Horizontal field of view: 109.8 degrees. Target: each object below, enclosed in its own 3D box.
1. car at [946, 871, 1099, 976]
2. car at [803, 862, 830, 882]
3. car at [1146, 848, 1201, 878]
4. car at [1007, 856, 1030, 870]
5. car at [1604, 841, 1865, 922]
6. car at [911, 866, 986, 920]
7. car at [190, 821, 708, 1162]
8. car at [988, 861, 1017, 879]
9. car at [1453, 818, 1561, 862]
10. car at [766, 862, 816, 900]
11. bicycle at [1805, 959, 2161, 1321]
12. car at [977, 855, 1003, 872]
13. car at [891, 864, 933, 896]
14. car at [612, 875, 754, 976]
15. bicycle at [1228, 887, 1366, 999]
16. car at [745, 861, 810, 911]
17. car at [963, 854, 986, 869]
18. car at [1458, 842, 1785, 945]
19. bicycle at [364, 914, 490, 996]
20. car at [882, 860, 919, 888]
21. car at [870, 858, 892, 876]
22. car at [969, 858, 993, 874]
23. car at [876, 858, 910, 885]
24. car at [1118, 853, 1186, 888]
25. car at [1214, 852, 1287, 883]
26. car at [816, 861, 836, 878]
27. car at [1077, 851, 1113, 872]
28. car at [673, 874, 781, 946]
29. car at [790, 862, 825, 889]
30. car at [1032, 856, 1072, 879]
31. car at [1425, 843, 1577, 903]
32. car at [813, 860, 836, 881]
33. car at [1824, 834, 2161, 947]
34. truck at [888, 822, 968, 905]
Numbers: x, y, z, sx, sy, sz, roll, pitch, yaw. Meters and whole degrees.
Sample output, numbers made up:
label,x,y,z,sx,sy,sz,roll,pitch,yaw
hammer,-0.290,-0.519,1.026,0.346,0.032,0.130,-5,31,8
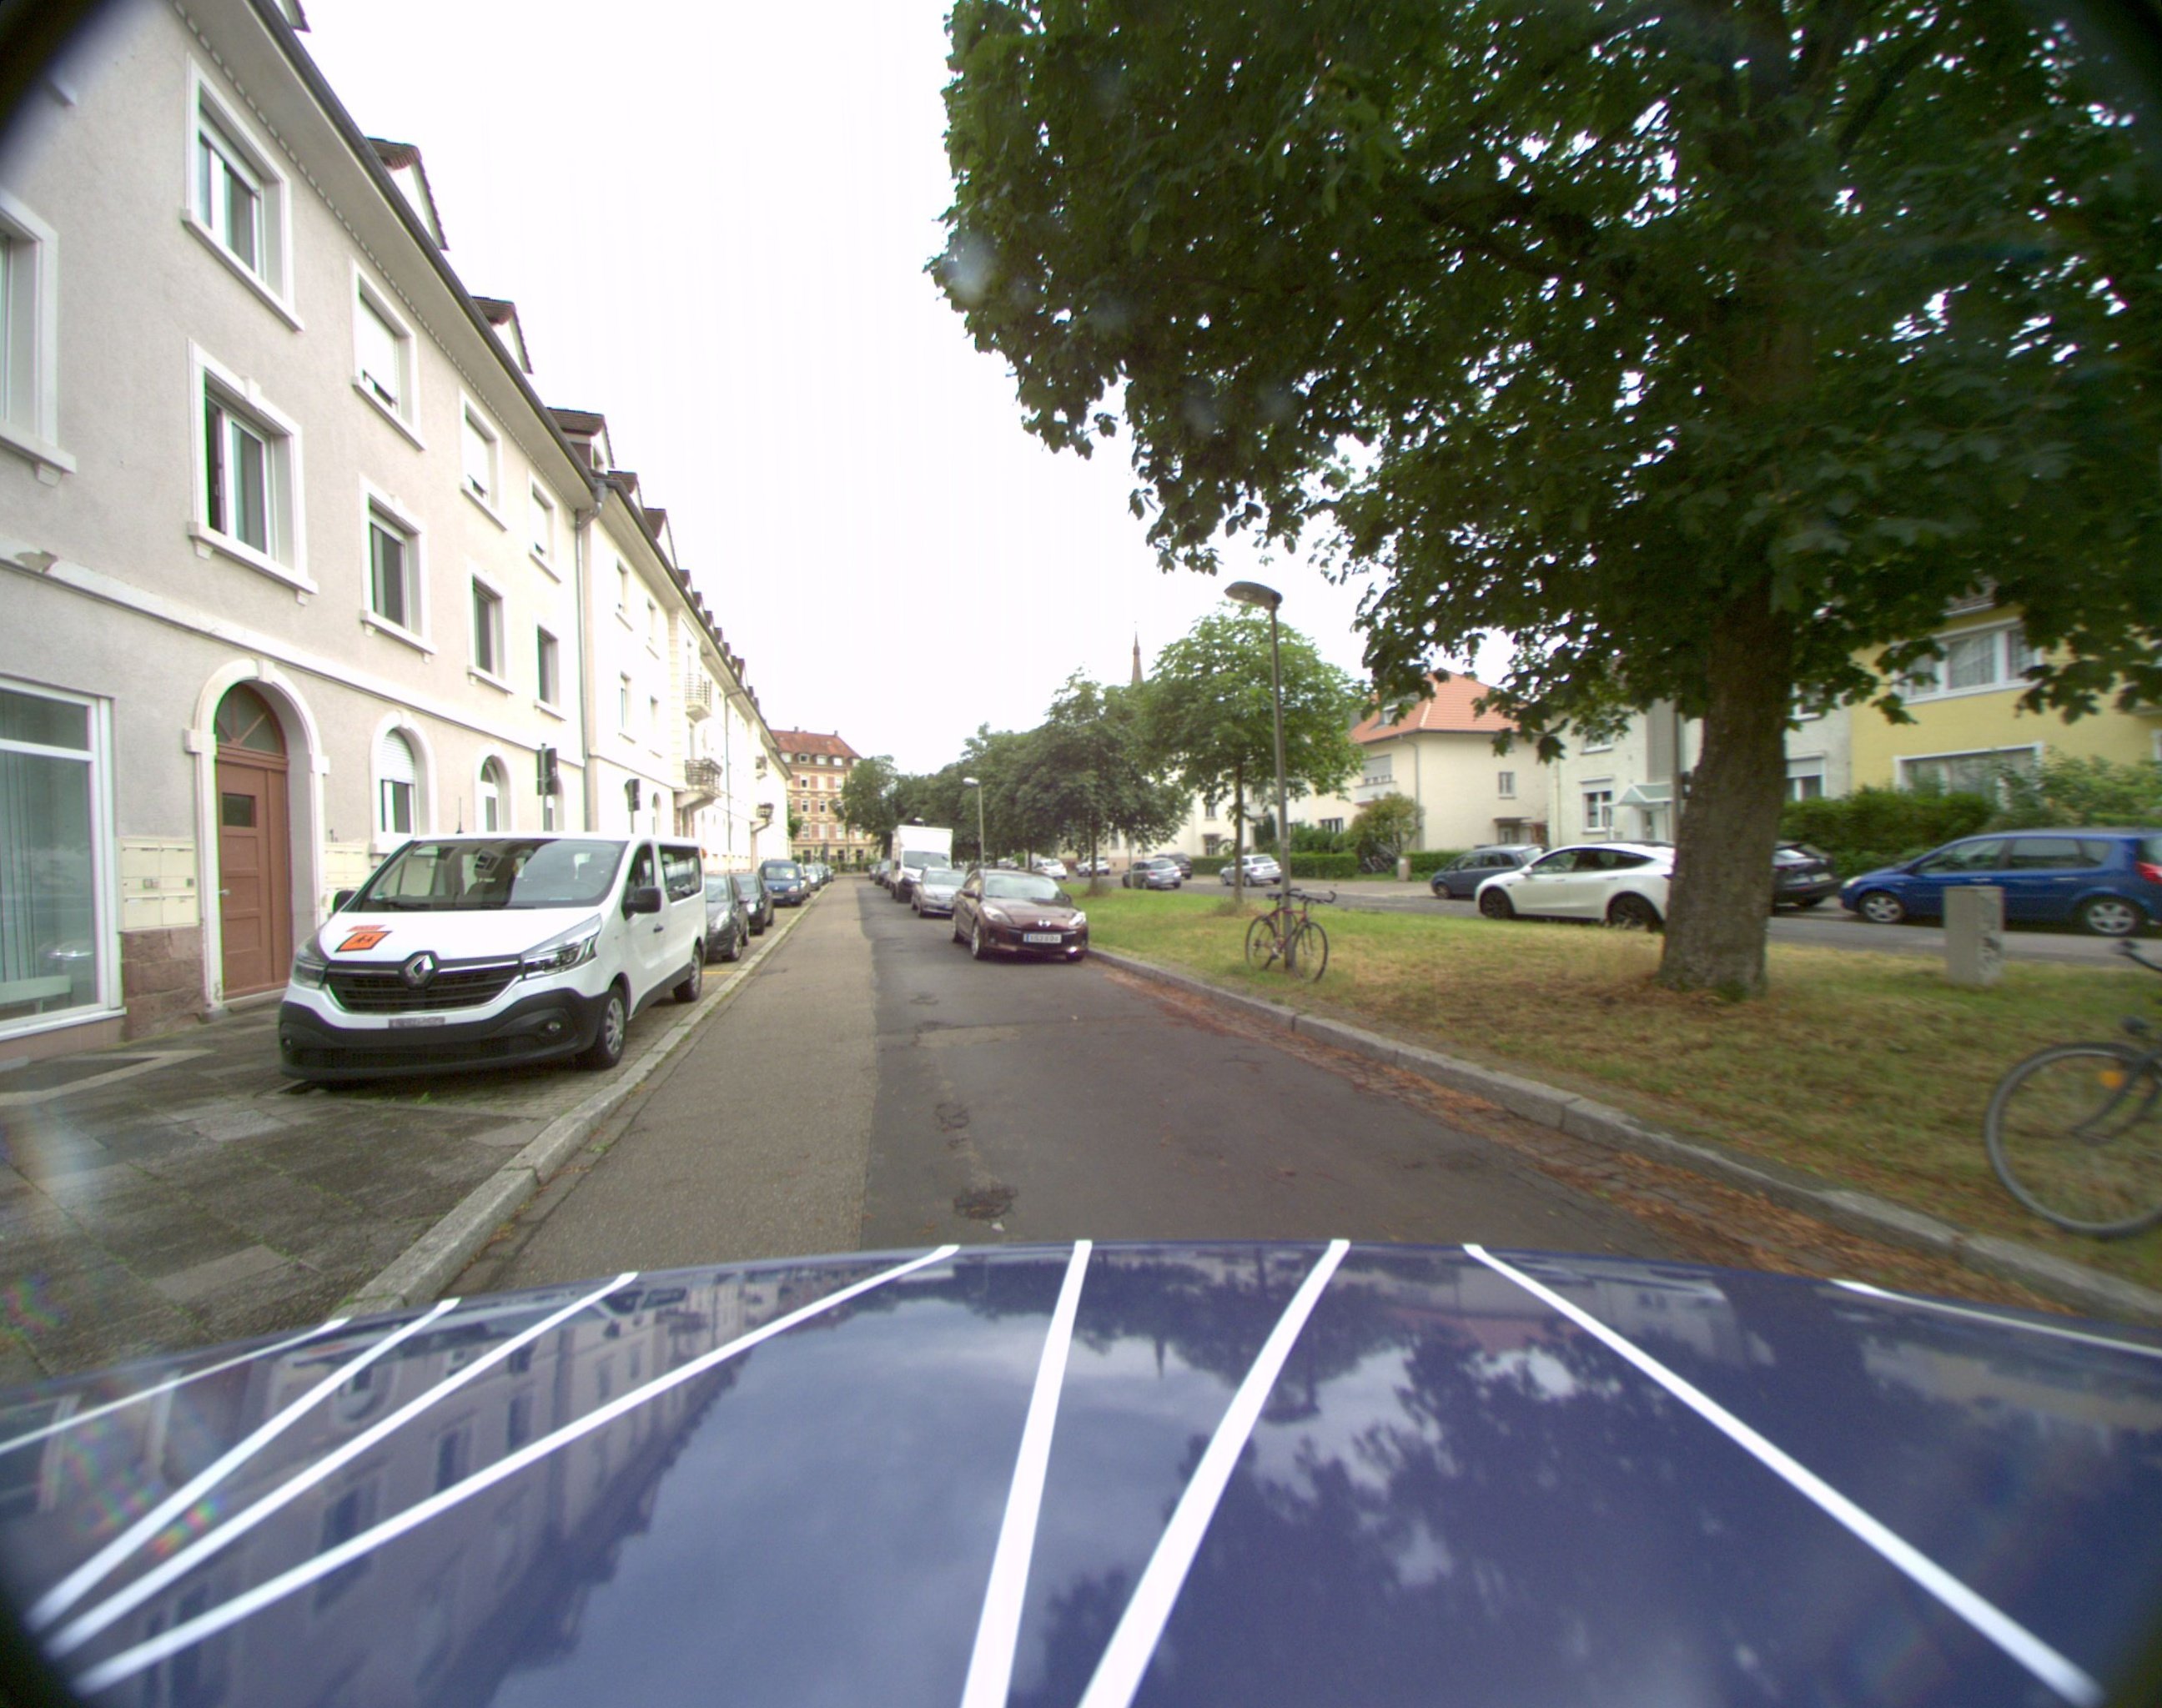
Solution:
label,x,y,z,sx,sy,sz,roll,pitch,yaw
car,-1.184,1.075,13.100,1.718,1.449,4.157,3,-1,-17
car,-19.158,1.275,55.145,1.612,1.391,4.004,2,-1,-17
car,5.677,0.556,47.274,1.806,1.664,4.095,-5,1,-17
car,-7.720,1.079,94.126,1.972,1.630,4.001,-3,1,-17
car,14.529,0.565,17.232,1.720,1.491,4.161,-4,1,-17
car,-4.176,1.135,23.393,1.718,1.449,4.442,3,-1,-17
car,-4.984,0.828,7.091,1.886,1.984,5.005,0,-1,-17
car,-7.488,1.503,72.394,1.972,1.630,4.001,-3,1,-17
car,19.526,-0.627,34.859,4.002,1.718,1.997,-4,1,-16
car,-13.236,1.206,34.884,1.778,1.628,4.122,2,-1,-17
bicycle,3.665,0.954,2.251,0.512,0.980,2.179,-4,1,-19
car,-9.463,0.929,79.084,1.972,1.630,4.001,-3,1,-17
car,-8.811,1.310,39.348,1.646,1.505,4.145,2,-1,-19
car,-6.842,1.136,13.446,1.695,1.445,3.895,1,-1,-20
bicycle,2.438,0.967,8.854,0.668,1.060,1.883,-2,0,-15
car,-11.671,1.161,29.427,1.946,1.774,4.180,0,0,-17
car,-12.584,0.918,89.642,1.972,1.630,4.001,-3,1,-17
car,9.778,0.624,14.362,1.904,1.557,4.877,-1,0,-17
bicycle,-9.200,1.372,10.790,0.450,0.887,2.168,0,0,-15
car,-10.589,1.114,44.422,1.646,1.505,4.145,-1,0,-19
car,-18.535,1.200,70.234,1.646,1.570,4.202,-2,0,-19
car,-11.140,1.294,84.795,1.972,1.630,4.001,-3,1,-17
car,-12.772,1.161,51.469,1.787,1.697,4.308,2,-1,-19
car,3.284,0.754,35.883,1.806,1.479,4.001,-3,1,-17
car,8.272,0.638,37.418,1.806,1.347,3.936,-3,1,-17
car,-22.564,1.375,67.335,1.458,1.388,4.004,2,-1,-17
car,1.103,0.598,61.943,1.806,1.598,4.001,-3,1,-17
car,-8.397,1.241,18.393,1.694,1.445,4.538,1,-1,-17
car,-16.073,1.228,44.738,1.689,1.505,3.949,2,-1,-17
car,-2.102,0.905,53.668,1.806,1.479,4.001,-3,1,-17
car,12.707,0.550,23.277,1.720,1.592,3.879,-4,1,-18
car,-20.856,1.317,61.834,1.612,1.575,4.004,-2,0,-17
car,15.701,0.507,12.844,1.705,1.557,4.205,-3,1,-13
truck,-6.460,0.406,31.338,2.448,2.939,7.102,3,-2,-16
